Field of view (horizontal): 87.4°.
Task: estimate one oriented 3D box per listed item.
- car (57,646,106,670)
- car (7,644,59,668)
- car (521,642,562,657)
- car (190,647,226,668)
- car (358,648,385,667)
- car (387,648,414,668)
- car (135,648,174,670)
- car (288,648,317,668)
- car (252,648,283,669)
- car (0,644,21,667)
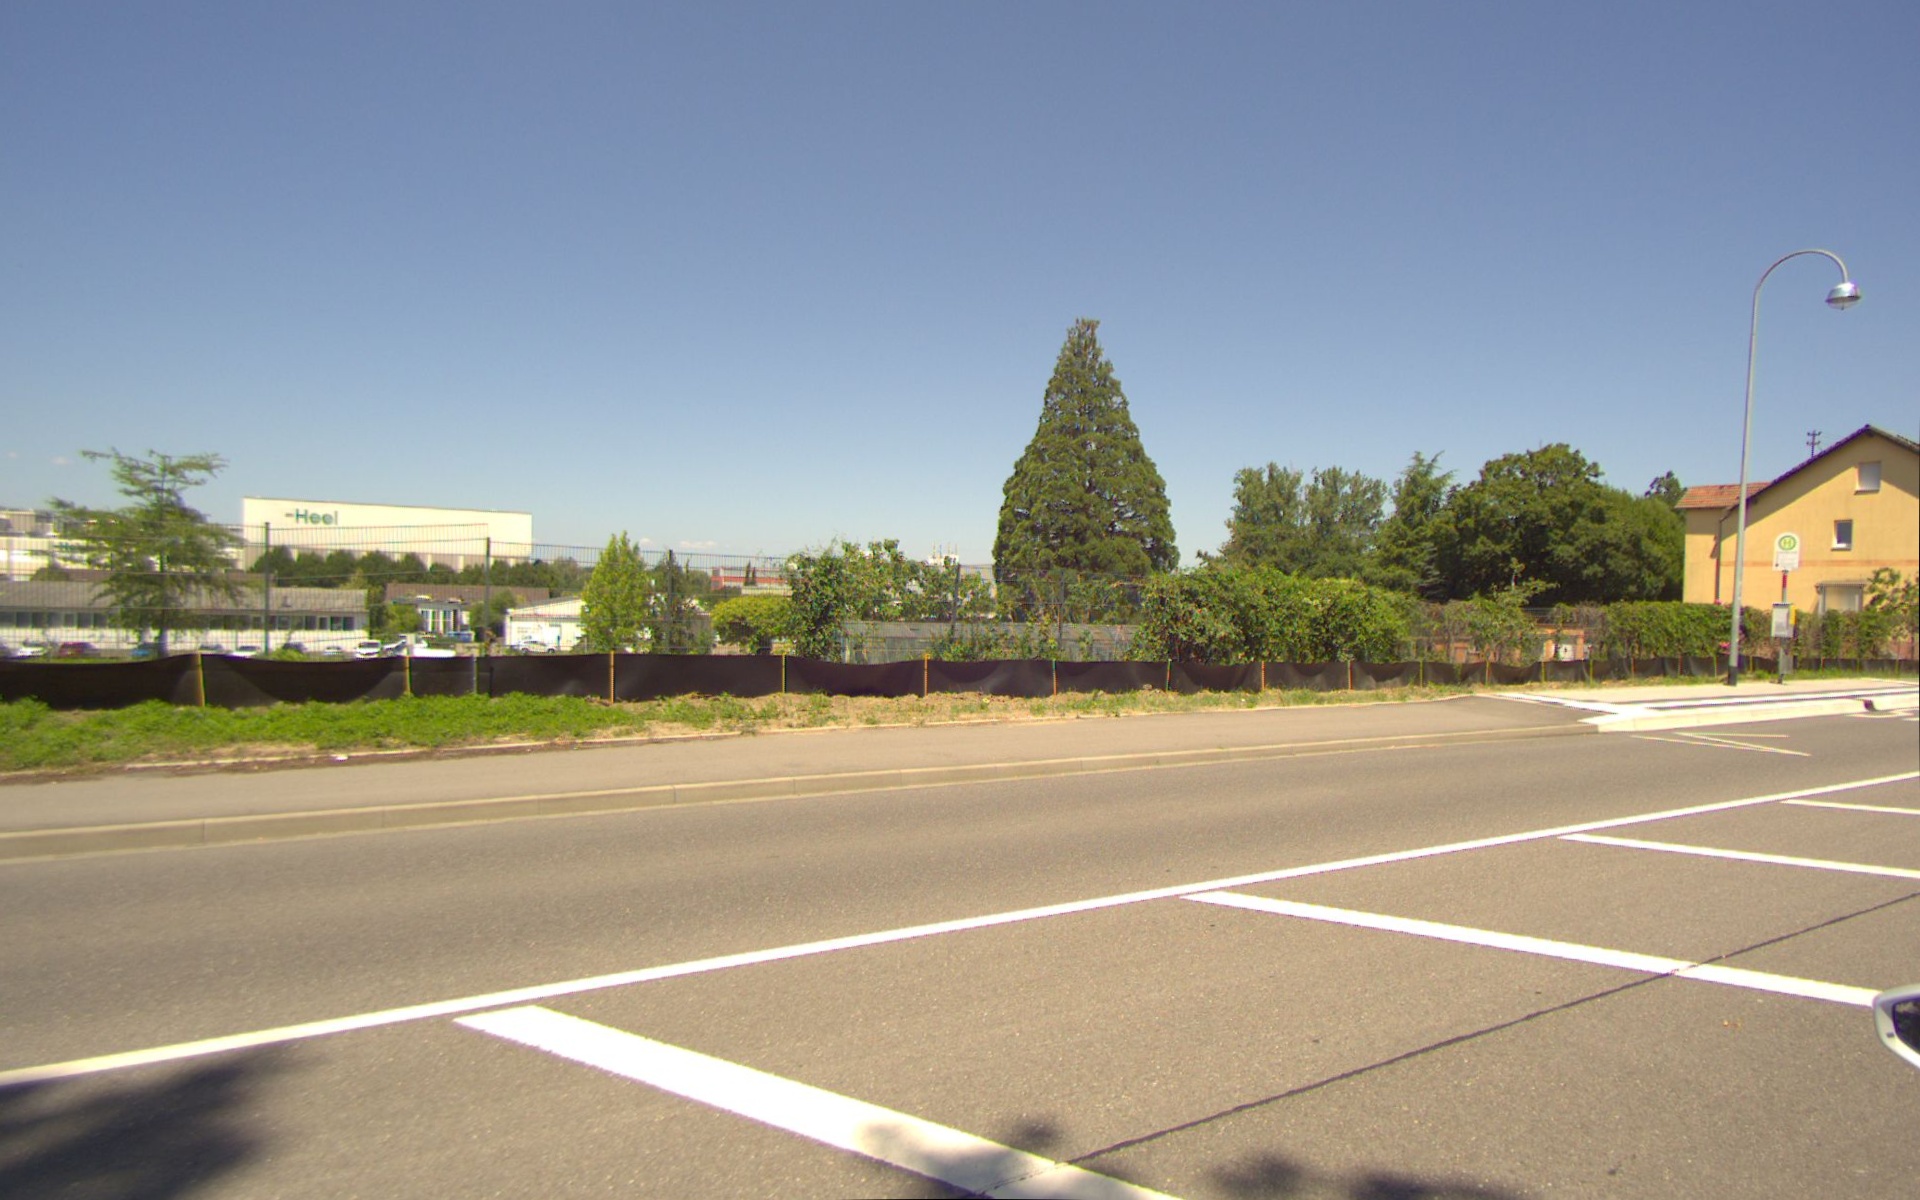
[{"bbox_3d":[-70.750,4.636,80.938,1.974,1.595,3.973,1,1,-26],"label":"car"},{"bbox_3d":[-73.542,4.402,79.737,1.974,1.595,3.973,1,1,-26],"label":"car"},{"bbox_3d":[-44.885,5.305,107.718,3.944,1.528,1.989,1,0,-24],"label":"car"},{"bbox_3d":[-63.391,4.849,84.725,1.978,1.528,3.966,1,-1,-32],"label":"car"},{"bbox_3d":[-52.863,5.167,90.211,1.978,1.528,3.966,1,-1,-32],"label":"car"},{"bbox_3d":[-50.654,5.228,90.895,1.978,1.528,3.966,1,-1,-32],"label":"car"},{"bbox_3d":[-65.544,4.770,81.759,1.978,1.528,3.966,1,-1,-32],"label":"car"},{"bbox_3d":[-57.280,5.029,87.519,1.978,1.528,3.966,1,-1,-32],"label":"car"},{"bbox_3d":[-58.888,4.972,85.461,1.978,1.528,3.966,1,-1,-32],"label":"car"},{"bbox_3d":[-75.599,4.332,78.627,1.974,1.595,3.973,1,1,-26],"label":"car"}]
